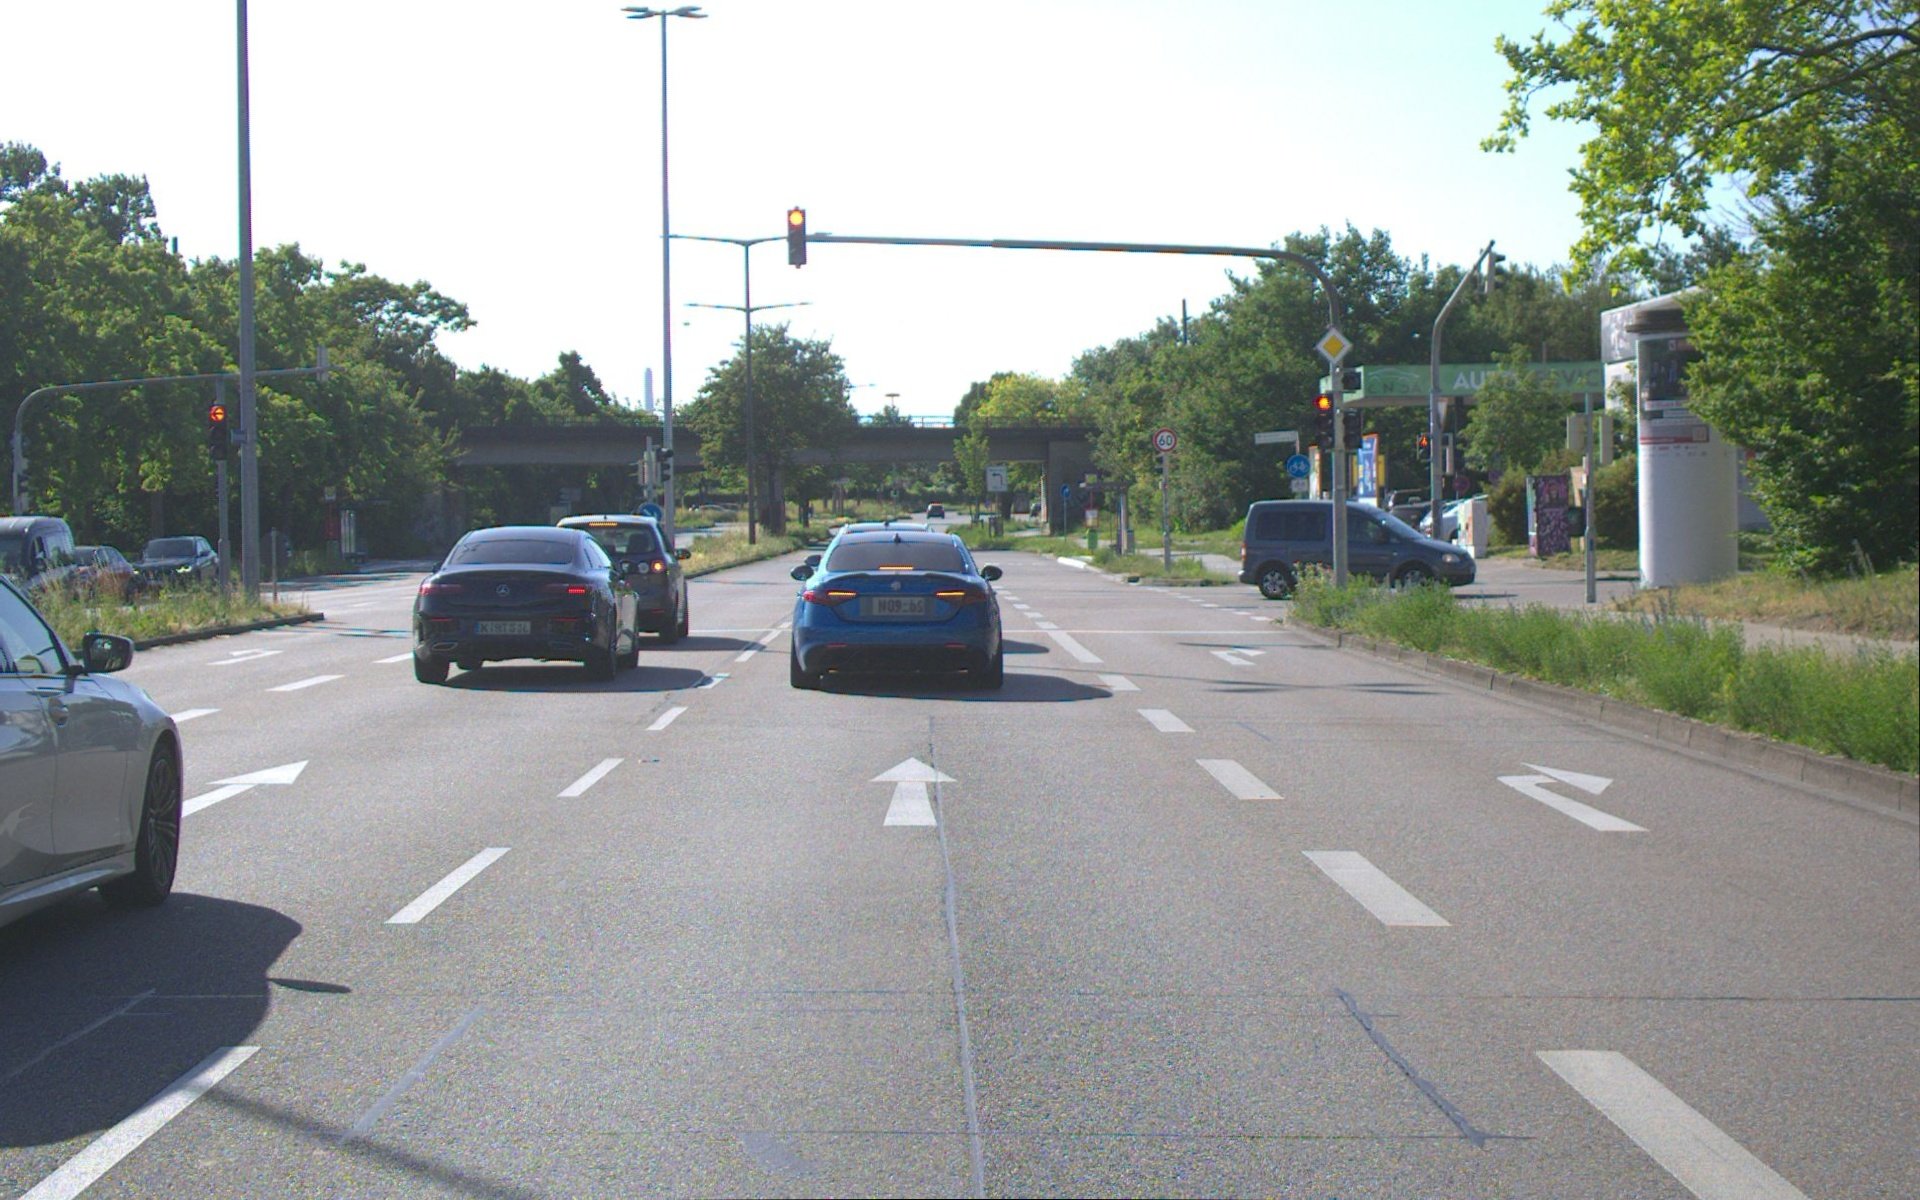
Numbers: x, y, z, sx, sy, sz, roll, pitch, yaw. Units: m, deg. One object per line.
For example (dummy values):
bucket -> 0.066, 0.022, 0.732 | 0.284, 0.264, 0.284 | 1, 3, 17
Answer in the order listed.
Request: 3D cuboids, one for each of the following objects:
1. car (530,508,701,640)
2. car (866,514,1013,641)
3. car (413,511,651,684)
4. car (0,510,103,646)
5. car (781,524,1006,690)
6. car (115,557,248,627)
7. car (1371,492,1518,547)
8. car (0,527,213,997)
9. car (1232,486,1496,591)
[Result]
car -> -4.249, -0.343, 42.931 | 1.812, 1.546, 4.354 | 1, 1, -2
car -> -0.218, -0.289, 42.703 | 1.704, 1.492, 3.719 | 1, 1, 1
car -> -4.041, -0.077, 33.095 | 1.812, 1.546, 4.544 | 0, 1, -1
car -> -13.446, -0.334, 48.565 | 1.677, 1.841, 4.295 | 1, 1, -1
car -> -0.553, 0.033, 31.610 | 1.910, 1.418, 3.719 | 1, 1, 1
car -> -20.416, -0.227, 90.297 | 1.803, 1.720, 4.320 | 0, 2, 11
car -> 14.096, -2.348, 100.150 | 3.987, 1.546, 2.000 | 1, 1, 1
car -> -3.935, 0.488, 11.723 | 1.812, 1.481, 4.596 | 1, 1, -1
car -> 7.518, -1.143, 63.941 | 4.585, 1.869, 1.817 | 0, 1, 18
